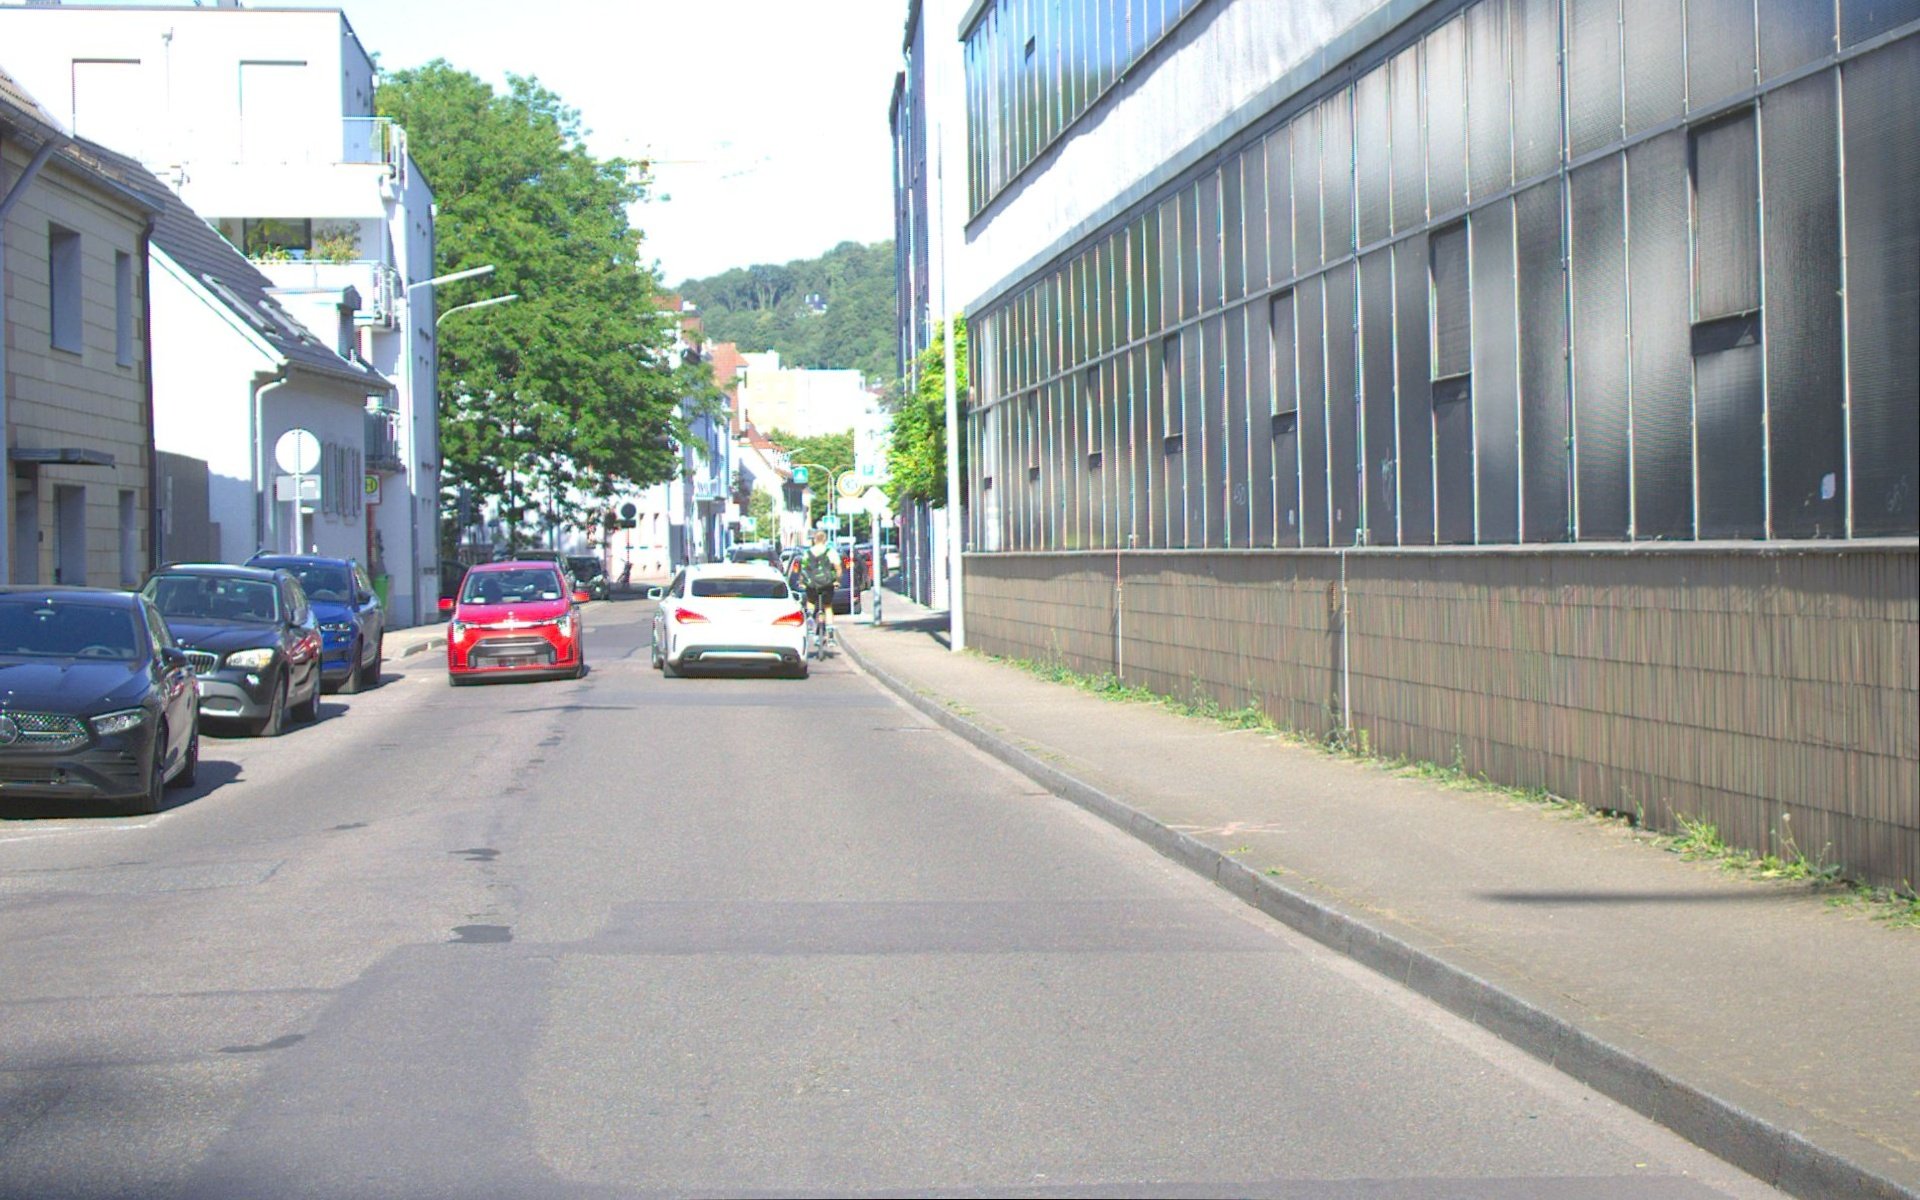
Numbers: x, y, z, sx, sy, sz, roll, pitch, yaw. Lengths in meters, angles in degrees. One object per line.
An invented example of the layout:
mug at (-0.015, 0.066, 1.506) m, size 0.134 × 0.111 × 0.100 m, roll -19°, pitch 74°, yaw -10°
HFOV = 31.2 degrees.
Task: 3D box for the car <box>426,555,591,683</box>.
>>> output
car at (-5.639, 0.207, 43.295) m, size 1.842 × 1.486 × 4.145 m, roll -1°, pitch 1°, yaw -5°

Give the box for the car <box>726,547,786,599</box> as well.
car at (-7.345, -0.986, 123.374) m, size 1.853 × 1.785 × 4.608 m, roll -2°, pitch 1°, yaw -6°

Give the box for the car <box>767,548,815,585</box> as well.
car at (-7.102, -1.422, 144.873) m, size 1.842 × 1.486 × 4.144 m, roll -1°, pitch 1°, yaw -1°

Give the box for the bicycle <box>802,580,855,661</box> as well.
bicycle at (-1.924, 0.281, 50.073) m, size 0.698 × 1.126 × 2.403 m, roll -1°, pitch 1°, yaw -3°

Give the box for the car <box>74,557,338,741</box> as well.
car at (-7.203, 0.415, 33.234) m, size 1.857 × 1.581 × 4.336 m, roll 0°, pitch 2°, yaw -4°

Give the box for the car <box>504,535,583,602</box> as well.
car at (-11.735, -0.921, 97.041) m, size 1.853 × 1.785 × 4.608 m, roll -2°, pitch 1°, yaw -3°

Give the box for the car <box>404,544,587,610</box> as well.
car at (-11.283, -0.562, 83.717) m, size 4.131 × 1.486 × 1.848 m, roll -1°, pitch 1°, yaw 2°

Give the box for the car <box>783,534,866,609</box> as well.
car at (-3.187, -0.672, 80.177) m, size 1.629 × 1.581 × 4.070 m, roll -5°, pitch 1°, yaw -5°

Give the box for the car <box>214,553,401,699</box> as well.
car at (-7.931, 0.272, 42.120) m, size 1.808 × 1.581 × 4.194 m, roll 0°, pitch 2°, yaw -5°

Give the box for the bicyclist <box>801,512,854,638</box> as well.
bicyclist at (-1.929, -0.364, 50.002) m, size 0.698 × 1.784 × 1.041 m, roll -1°, pitch 0°, yaw -3°

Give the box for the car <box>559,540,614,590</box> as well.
car at (-12.512, -1.192, 115.346) m, size 1.704 × 1.570 × 3.915 m, roll -2°, pitch 1°, yaw -5°

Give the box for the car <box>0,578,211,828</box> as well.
car at (-6.095, 0.620, 23.265) m, size 1.684 × 1.530 × 4.336 m, roll 0°, pitch 0°, yaw -8°

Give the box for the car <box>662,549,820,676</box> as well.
car at (-2.821, 0.136, 43.665) m, size 1.842 × 1.486 × 4.145 m, roll -1°, pitch 1°, yaw -5°
